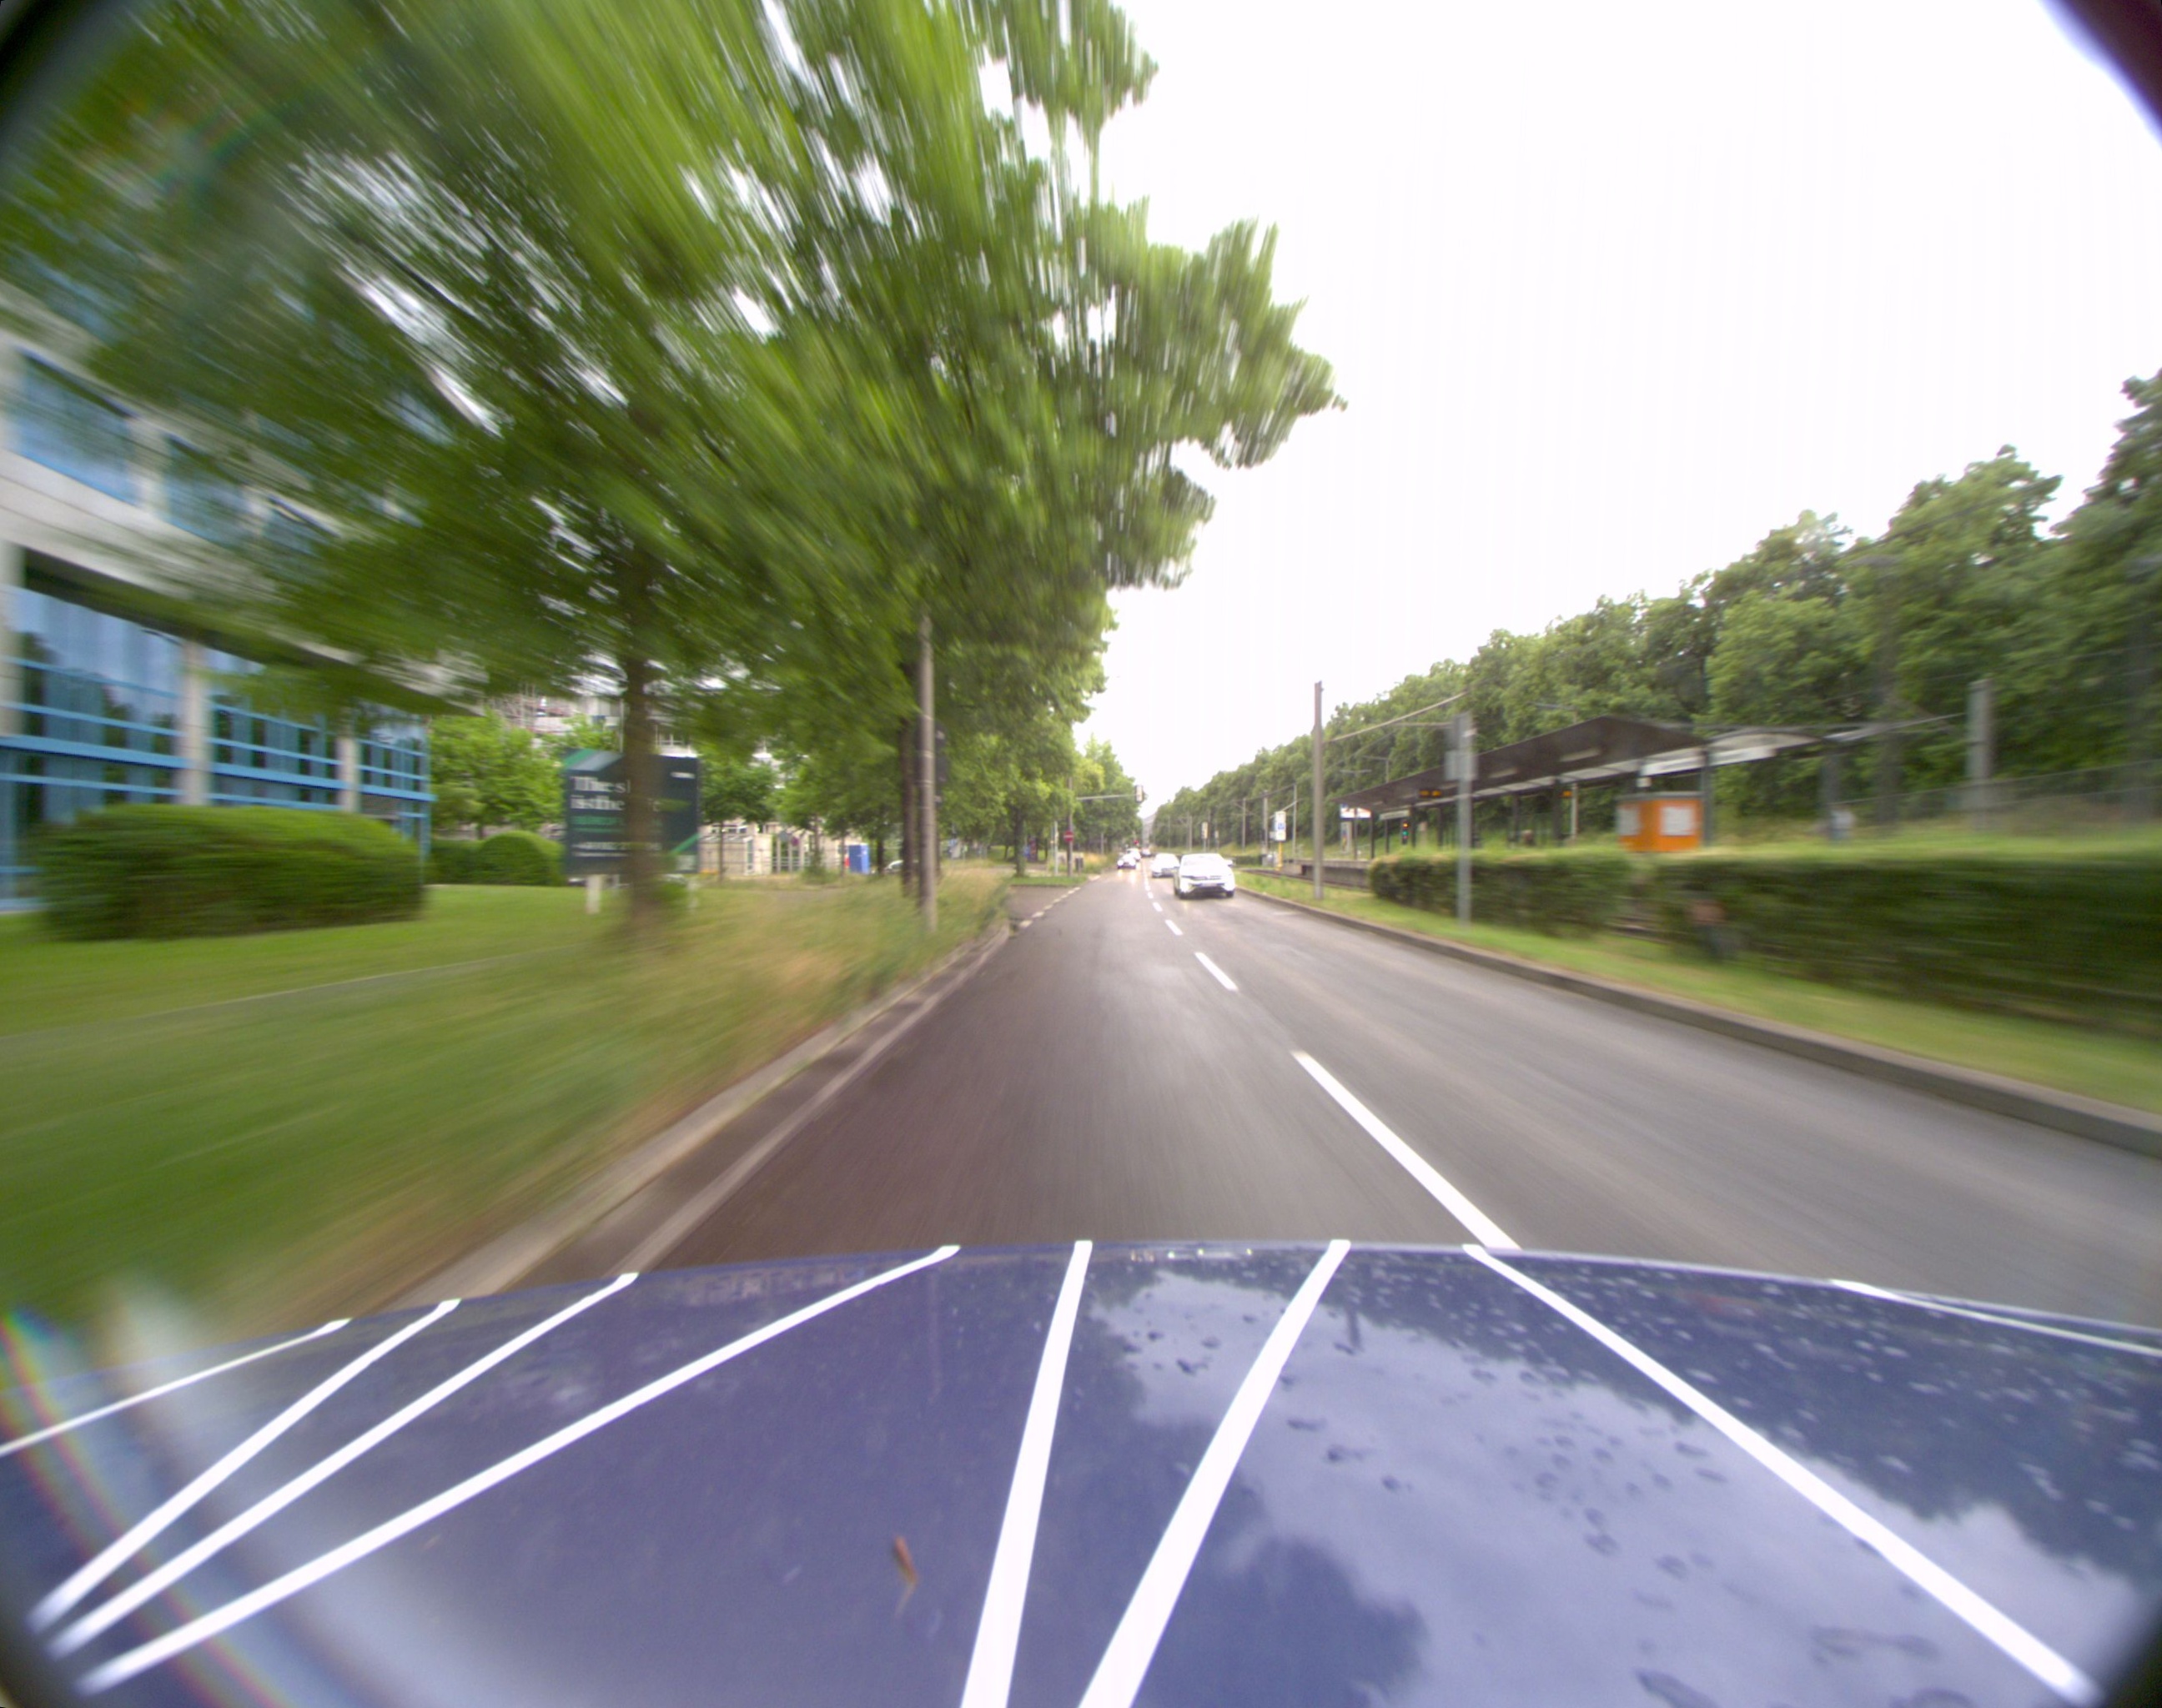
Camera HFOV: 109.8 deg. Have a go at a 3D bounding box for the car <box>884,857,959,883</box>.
[{"bbox_3d":[-9.820,0.955,46.803,4.431,1.425,1.710,-1,1,-14],"label":"car"}]

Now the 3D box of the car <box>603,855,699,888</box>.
[{"bbox_3d":[-22.191,0.907,39.253,4.104,1.632,1.759,-1,-1,9],"label":"car"}]

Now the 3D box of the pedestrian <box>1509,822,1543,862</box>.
[{"bbox_3d":[15.296,-0.420,26.131,0.754,1.348,0.692,-1,1,1],"label":"pedestrian"}]

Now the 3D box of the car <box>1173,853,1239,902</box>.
[{"bbox_3d":[4.276,0.741,26.714,1.959,1.457,4.701,-2,1,6],"label":"car"}]

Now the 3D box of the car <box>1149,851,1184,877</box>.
[{"bbox_3d":[5.404,0.600,48.629,1.960,1.472,4.700,-3,1,4],"label":"car"}]

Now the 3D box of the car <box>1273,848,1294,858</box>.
[{"bbox_3d":[27.929,-0.176,104.933,1.800,1.395,3.999,-1,1,-1],"label":"car"}]

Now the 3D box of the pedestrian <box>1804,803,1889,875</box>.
[{"bbox_3d":[17.668,-0.341,17.567,0.937,1.602,1.027,-1,1,5],"label":"pedestrian"}]

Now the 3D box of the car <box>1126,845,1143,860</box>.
[{"bbox_3d":[7.461,-0.252,106.416,1.960,1.914,4.845,-3,1,0],"label":"car"}]

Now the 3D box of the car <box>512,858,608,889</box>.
[{"bbox_3d":[-27.409,1.044,40.013,4.104,1.569,1.759,-1,-1,9],"label":"car"}]

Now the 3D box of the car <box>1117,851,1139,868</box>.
[{"bbox_3d":[4.531,0.495,72.514,1.959,1.469,4.700,-3,1,5],"label":"car"}]
